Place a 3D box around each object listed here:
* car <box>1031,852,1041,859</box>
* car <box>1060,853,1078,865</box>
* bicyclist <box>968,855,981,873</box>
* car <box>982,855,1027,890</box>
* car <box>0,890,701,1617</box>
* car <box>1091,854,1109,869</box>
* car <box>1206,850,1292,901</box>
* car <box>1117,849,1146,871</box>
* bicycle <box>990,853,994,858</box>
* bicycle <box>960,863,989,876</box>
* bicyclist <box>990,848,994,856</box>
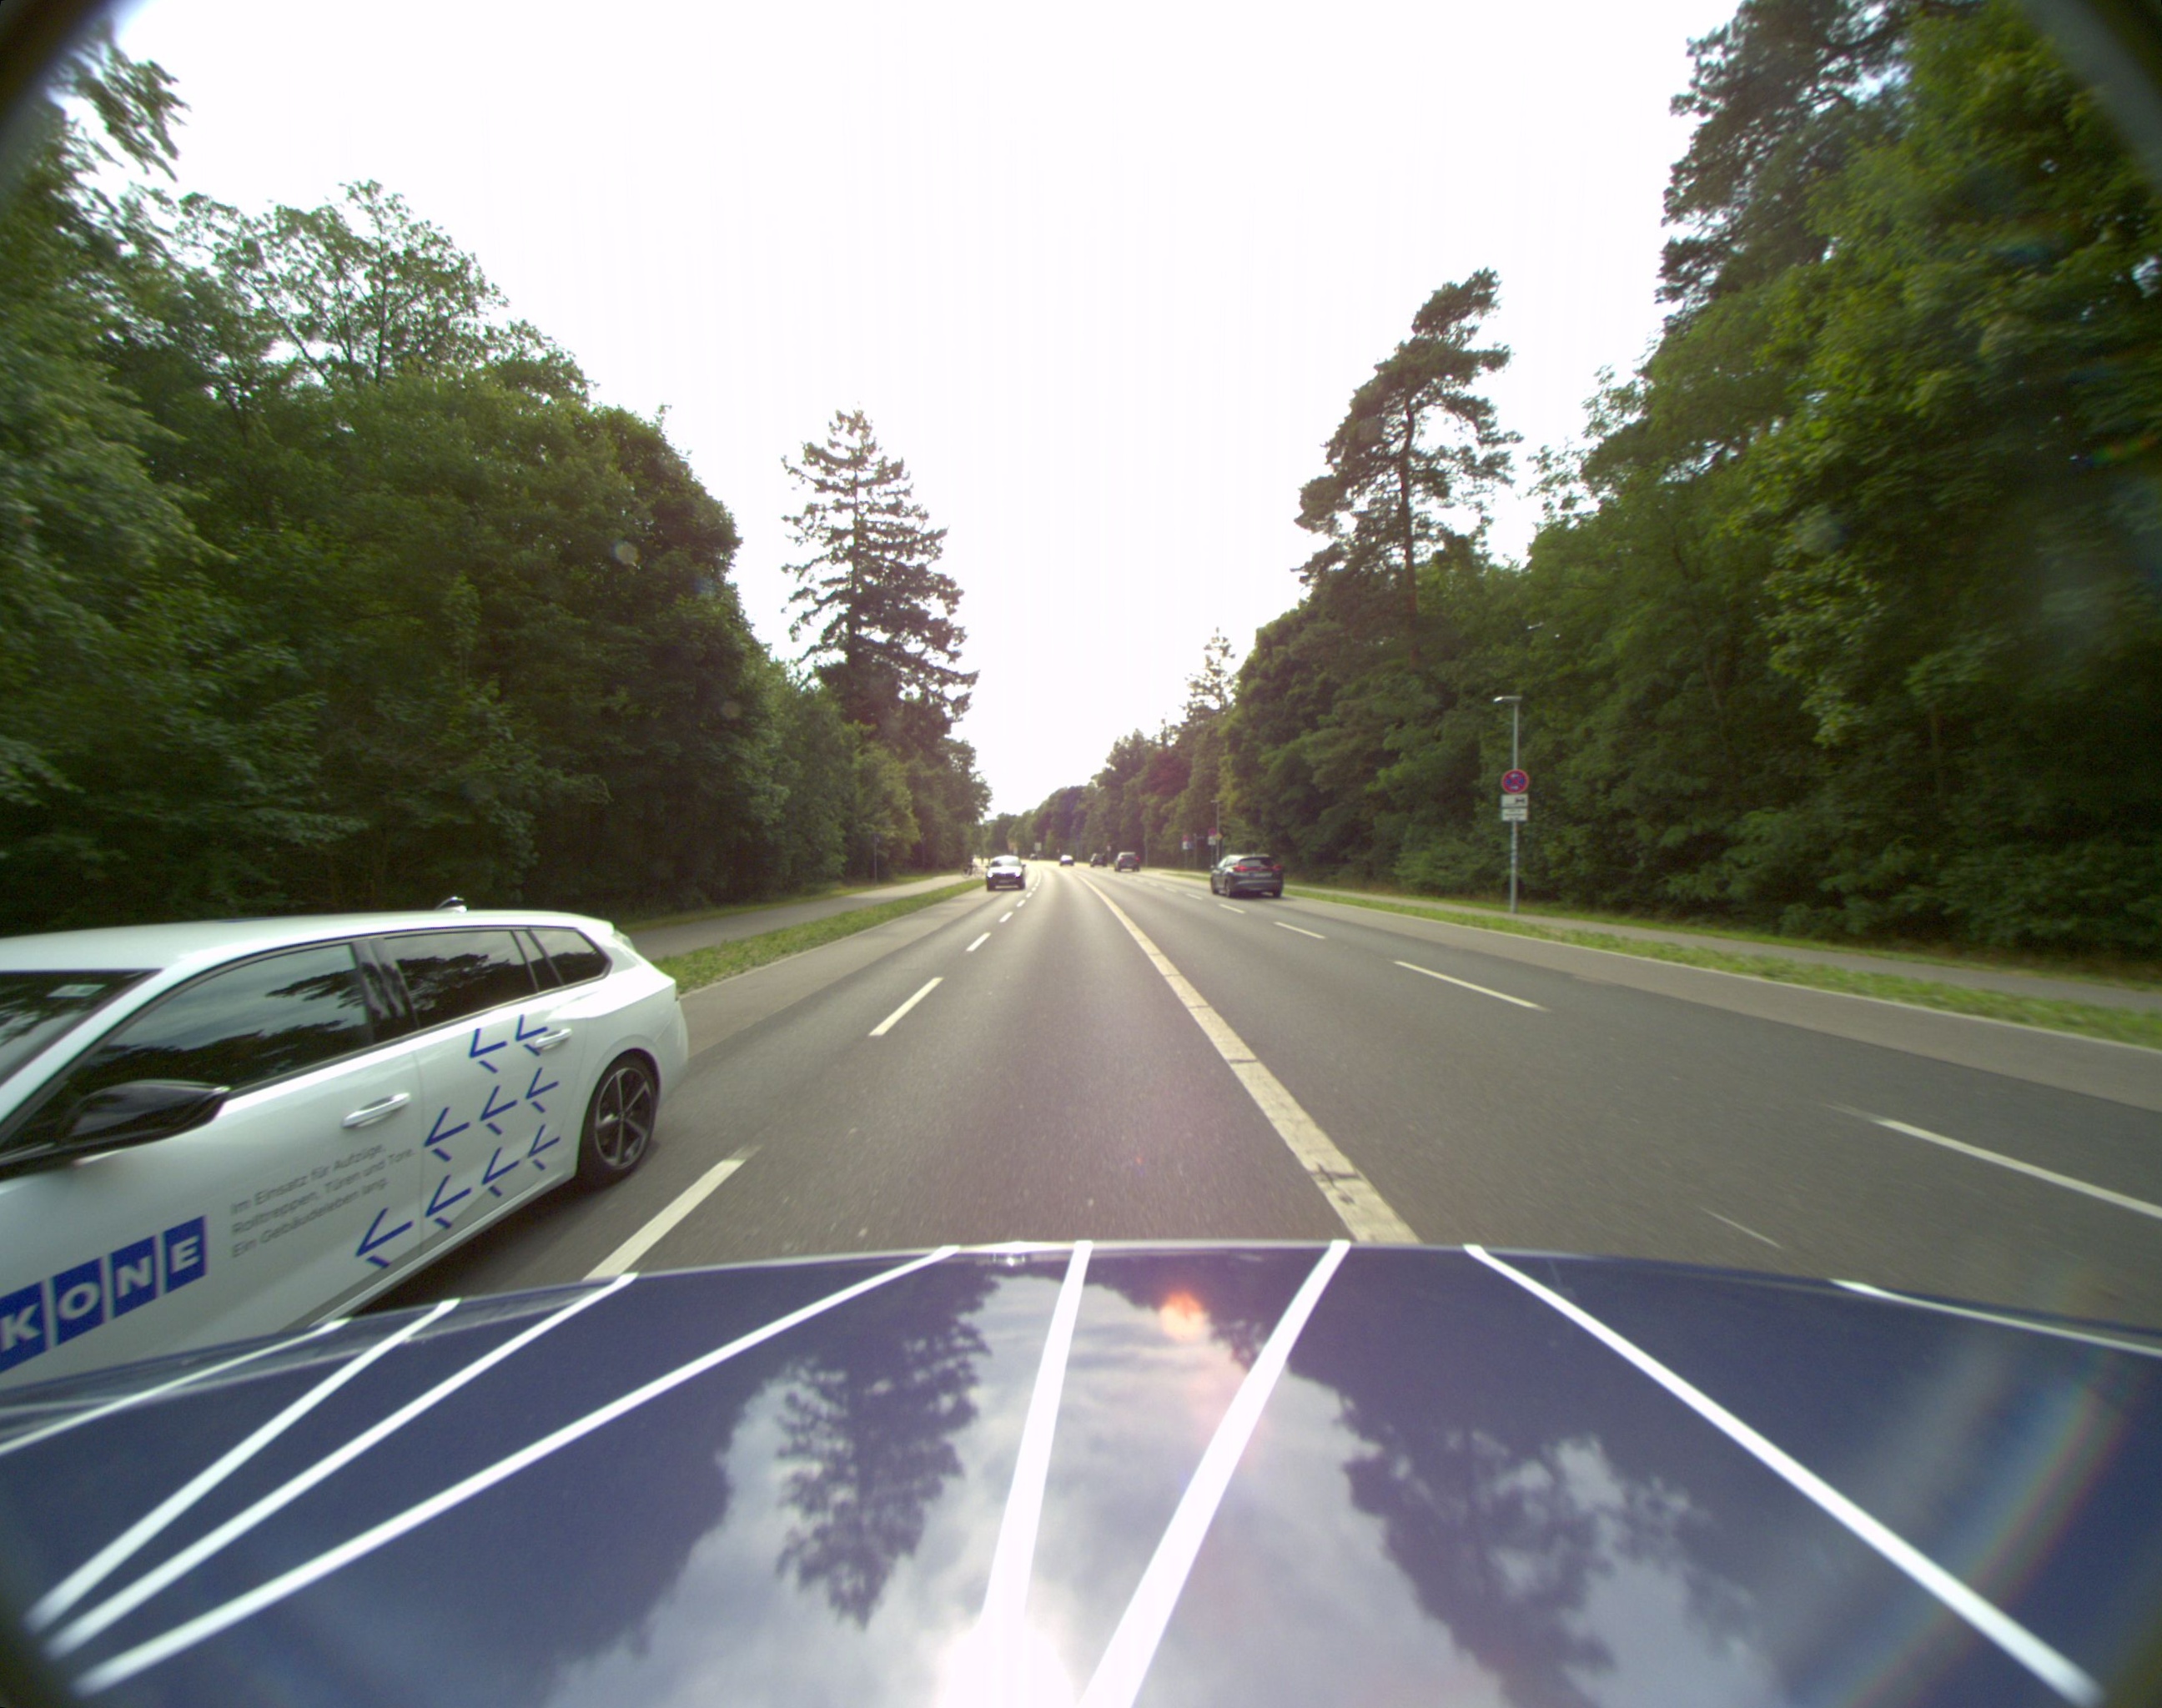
[{"bbox_3d":[-12.098,0.460,204.058,2.000,1.781,4.743,-3,1,-9],"label":"car"},{"bbox_3d":[-1.742,0.689,107.660,2.000,1.427,4.717,-2,1,-6],"label":"car"},{"bbox_3d":[-8.474,0.783,60.583,0.901,1.462,0.711,-1,1,-1],"label":"bicyclist"},{"bbox_3d":[-3.854,0.902,39.036,1.999,1.565,3.998,-3,1,-2],"label":"car"},{"bbox_3d":[-3.167,0.927,2.198,1.841,1.401,4.491,-4,-1,-1],"label":"car"},{"bbox_3d":[2.400,0.938,95.269,1.928,1.646,4.467,-2,1,-2],"label":"car"},{"bbox_3d":[5.662,0.654,26.151,1.901,1.475,4.537,-1,2,-1],"label":"car"},{"bbox_3d":[4.462,0.514,68.112,1.999,1.607,4.662,-6,1,-2],"label":"car"},{"bbox_3d":[-15.952,0.283,135.937,0.568,0.906,1.752,1,0,-14],"label":"bicycle"},{"bbox_3d":[-8.469,1.231,60.578,2.179,0.988,0.711,-1,1,0],"label":"bicycle"},{"bbox_3d":[-15.977,-0.334,135.944,0.522,1.407,1.185,-1,1,-14],"label":"bicyclist"}]
